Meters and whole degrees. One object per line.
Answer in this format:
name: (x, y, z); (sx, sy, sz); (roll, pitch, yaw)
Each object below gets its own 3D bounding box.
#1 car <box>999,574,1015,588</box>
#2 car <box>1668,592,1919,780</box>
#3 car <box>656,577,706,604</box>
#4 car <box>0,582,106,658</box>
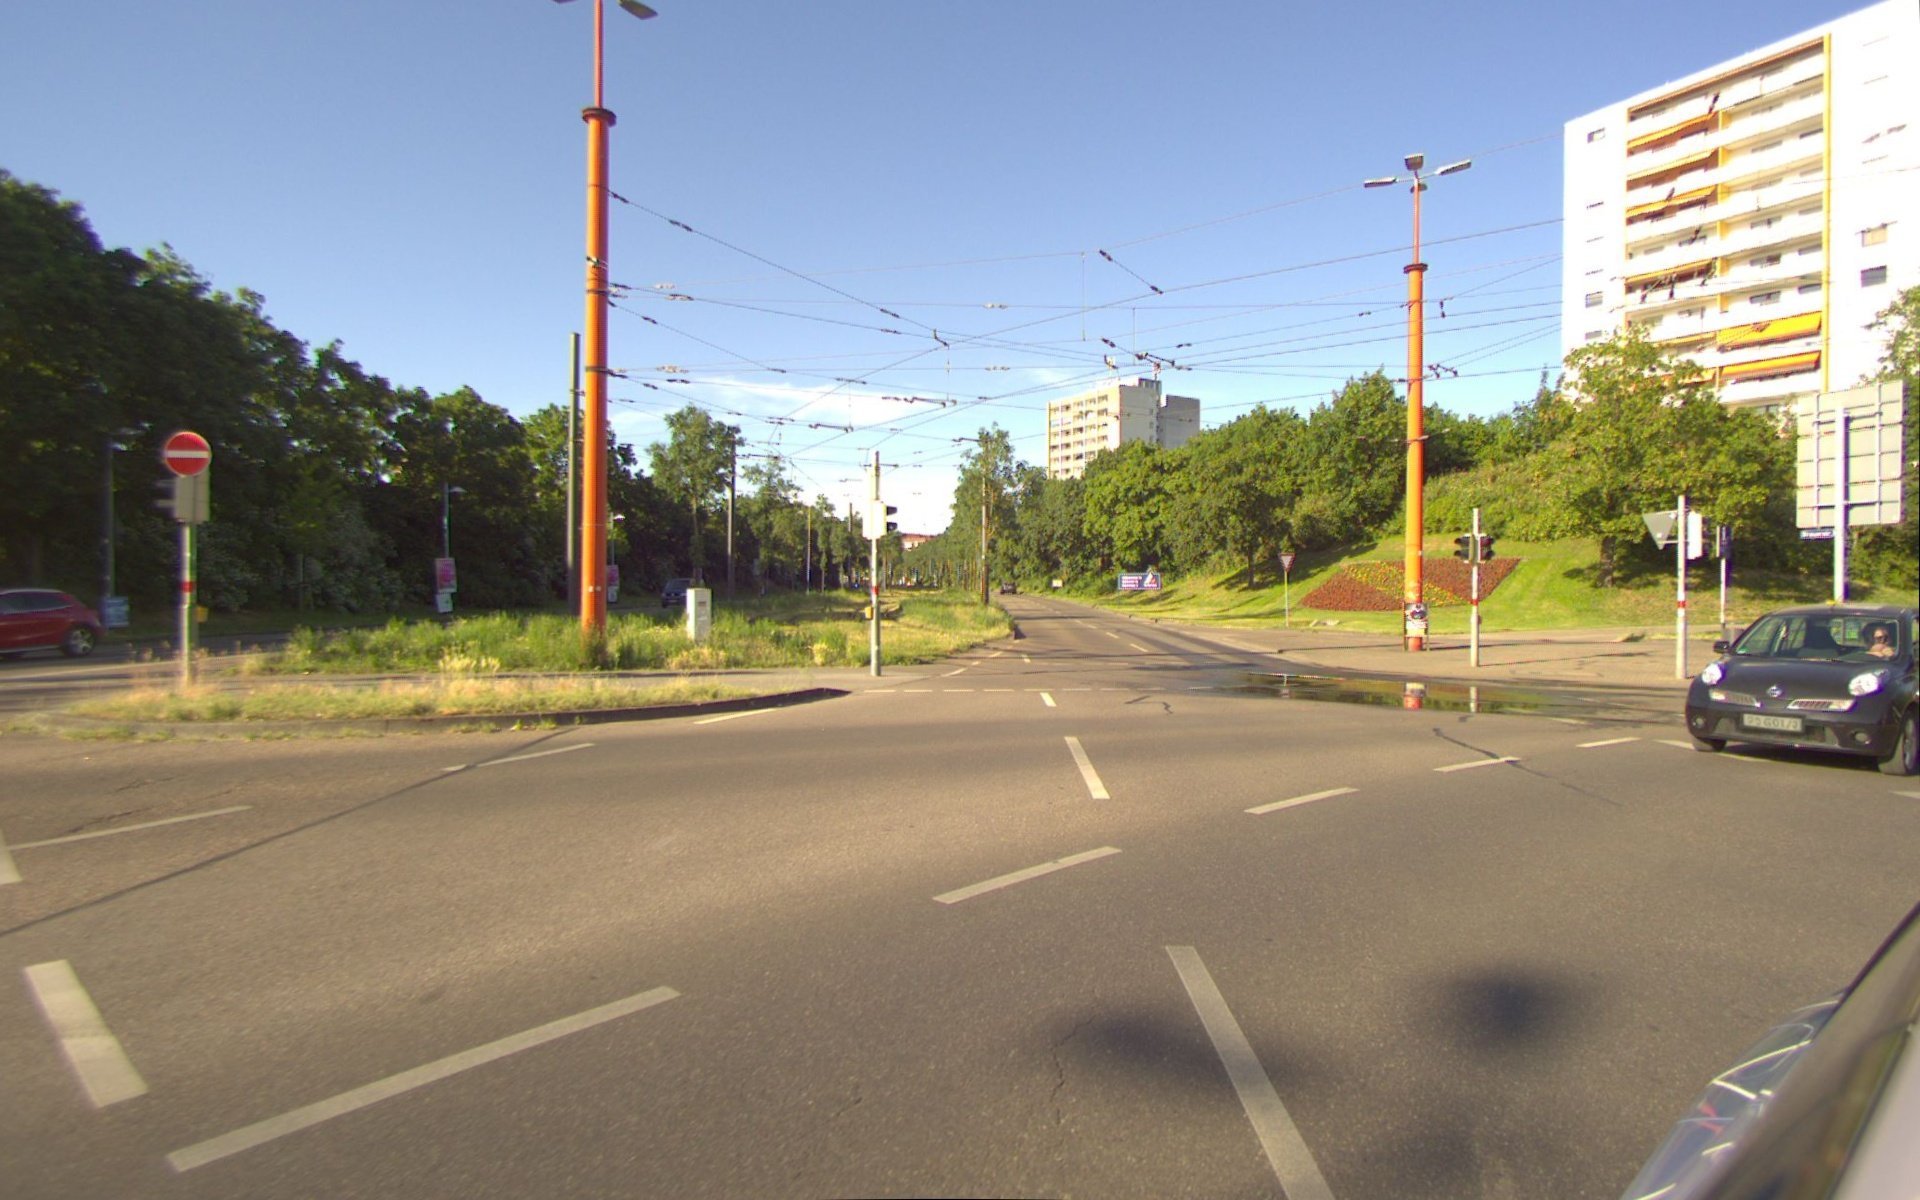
car: (6.103, -2.452, 130.773); (1.963, 1.725, 4.691); (-1, 1, 2)
car: (9.170, 0.686, 10.287); (4.534, 1.501, 1.741); (-1, 1, -34)
car: (-18.883, -0.635, 68.686); (1.963, 1.754, 4.817); (0, 1, 1)
car: (-20.145, 0.404, 20.532); (1.963, 1.514, 4.288); (0, 1, 1)
